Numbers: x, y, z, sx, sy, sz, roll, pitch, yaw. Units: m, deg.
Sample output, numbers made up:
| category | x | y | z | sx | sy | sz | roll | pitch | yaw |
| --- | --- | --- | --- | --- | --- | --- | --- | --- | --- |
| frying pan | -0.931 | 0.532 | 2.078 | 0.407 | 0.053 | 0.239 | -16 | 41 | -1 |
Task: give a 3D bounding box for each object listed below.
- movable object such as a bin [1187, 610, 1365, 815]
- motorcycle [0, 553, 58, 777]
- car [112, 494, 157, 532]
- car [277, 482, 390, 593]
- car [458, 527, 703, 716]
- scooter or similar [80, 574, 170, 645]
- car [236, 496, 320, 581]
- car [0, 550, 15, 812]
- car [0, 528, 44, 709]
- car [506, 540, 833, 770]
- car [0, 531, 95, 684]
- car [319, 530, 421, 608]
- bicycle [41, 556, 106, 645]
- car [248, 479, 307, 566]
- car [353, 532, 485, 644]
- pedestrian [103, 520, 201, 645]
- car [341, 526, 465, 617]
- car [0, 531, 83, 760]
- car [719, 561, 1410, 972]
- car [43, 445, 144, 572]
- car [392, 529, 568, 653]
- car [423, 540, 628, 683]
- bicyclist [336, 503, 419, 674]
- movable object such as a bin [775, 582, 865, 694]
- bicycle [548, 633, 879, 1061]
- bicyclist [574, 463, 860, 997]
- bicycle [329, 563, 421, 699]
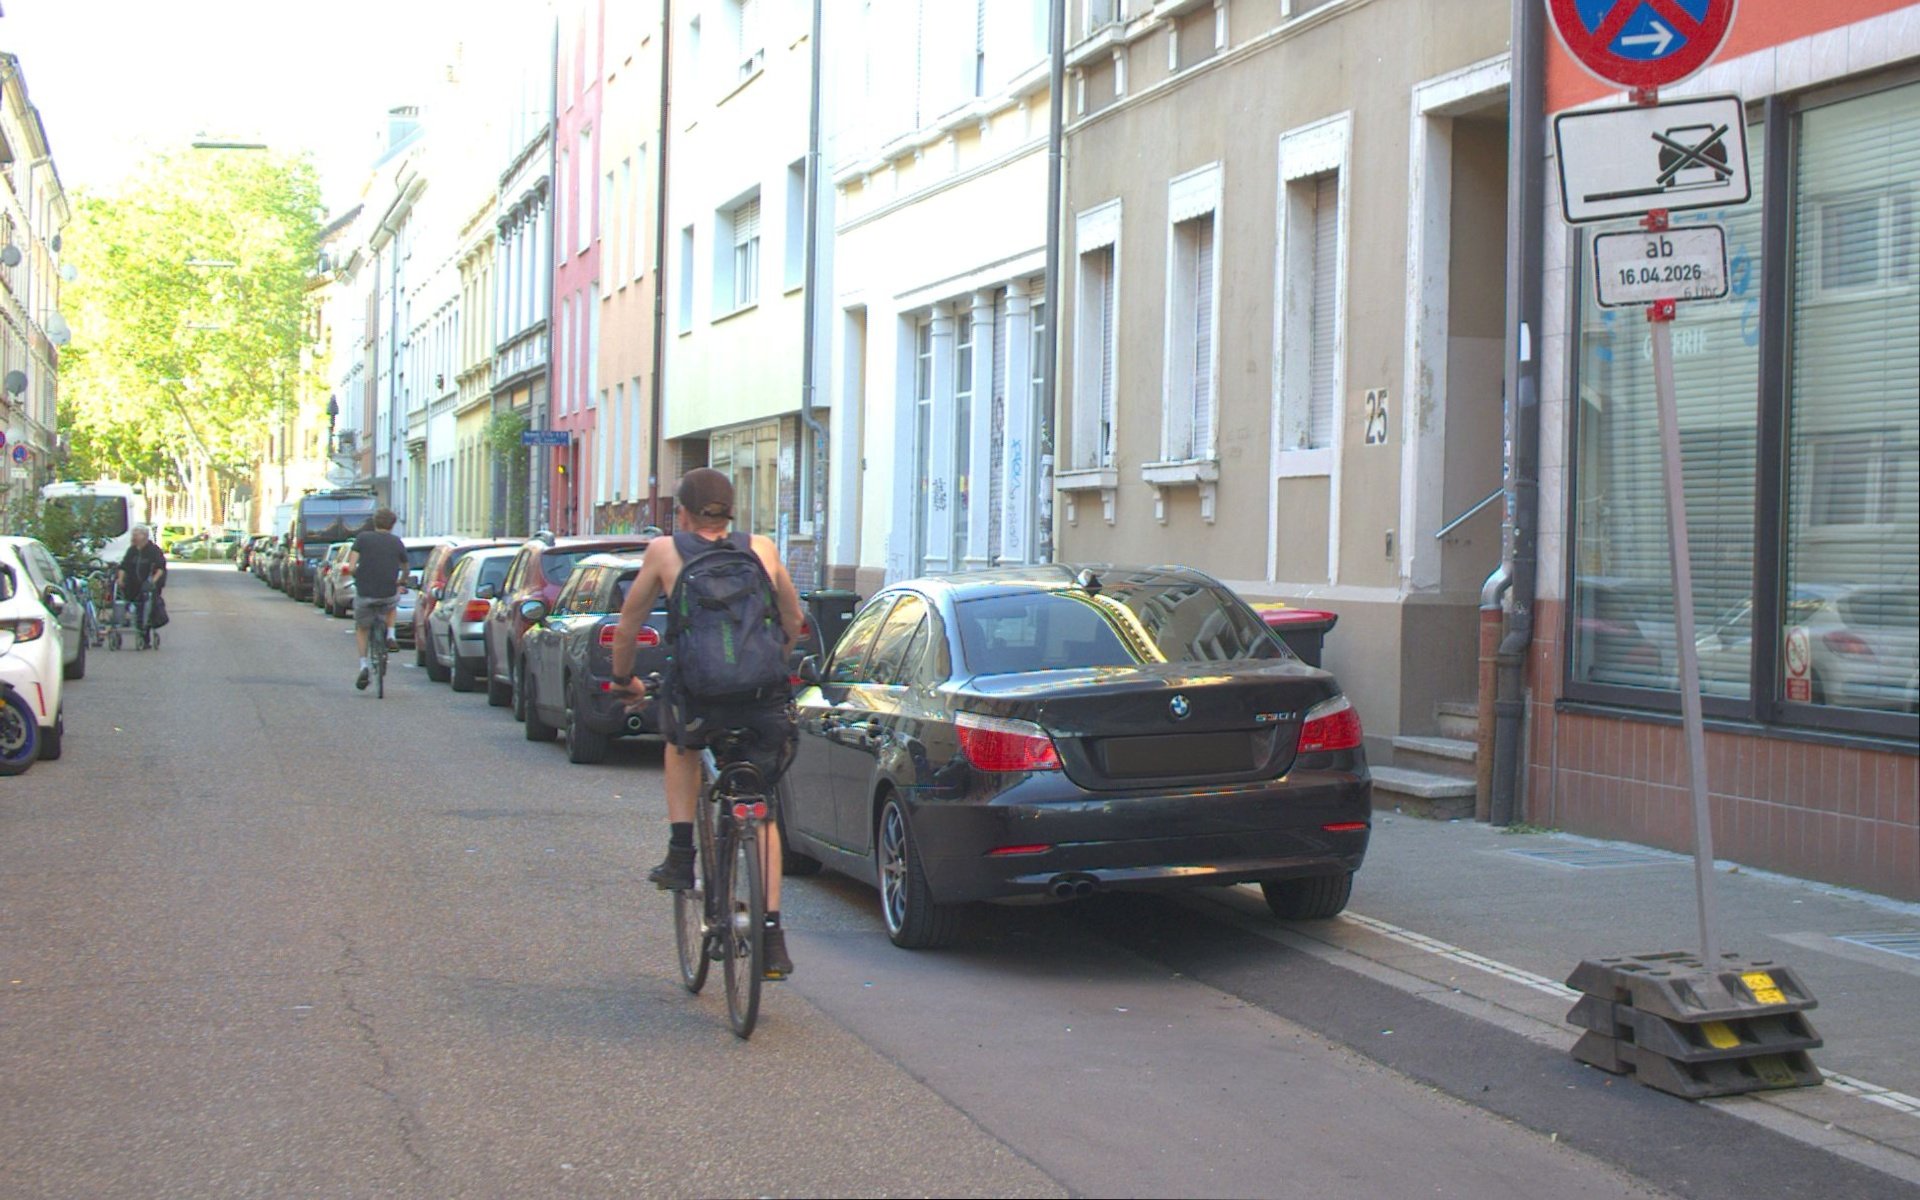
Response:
| category | x | y | z | sx | sy | sz | roll | pitch | yaw |
| --- | --- | --- | --- | --- | --- | --- | --- | --- | --- |
| movable object such as a bin | 1.732 | 0.606 | 18.894 | 0.736 | 1.071 | 0.678 | -2 | 1 | -19 |
| motorcycle | -6.625 | 0.424 | 20.819 | 2.146 | 1.354 | 0.540 | -2 | 2 | -30 |
| car | -32.715 | -3.454 | 136.334 | 1.671 | 1.437 | 4.166 | -1 | 1 | -13 |
| car | -14.977 | -1.481 | 81.937 | 2.307 | 2.529 | 6.772 | -1 | 1 | -13 |
| car | -3.459 | 0.149 | 30.754 | 1.710 | 1.551 | 4.001 | -1 | 1 | -13 |
| scooter or similar | -10.671 | 0.120 | 43.952 | 0.772 | 0.870 | 0.769 | 3 | 0 | 27 |
| car | -21.197 | -1.886 | 106.631 | 2.307 | 2.529 | 6.772 | -1 | 1 | -13 |
| car | -5.631 | 0.479 | 16.538 | 1.710 | 1.378 | 4.357 | 1 | 2 | -11 |
| car | -8.681 | 0.129 | 29.035 | 1.671 | 1.437 | 3.769 | -1 | 1 | -13 |
| car | -2.202 | 0.334 | 25.107 | 1.816 | 1.516 | 4.001 | -1 | 1 | -13 |
| car | -9.622 | 0.047 | 34.262 | 1.671 | 1.437 | 3.755 | -1 | 1 | -10 |
| car | -11.459 | -0.604 | 66.605 | 1.710 | 1.442 | 4.001 | -1 | 1 | -13 |
| bicycle | -11.650 | -0.001 | 45.160 | 0.699 | 1.102 | 2.275 | 2 | 0 | -17 |
| car | -30.418 | -3.424 | 153.116 | 2.307 | 3.755 | 6.772 | -1 | 1 | -13 |
| car | -7.939 | -0.195 | 50.232 | 1.620 | 1.545 | 4.001 | -1 | 1 | -13 |
| pedestrian | -10.427 | -0.220 | 44.372 | 0.772 | 1.573 | 0.899 | 3 | 0 | 27 |
| car | -9.041 | -0.471 | 55.572 | 1.710 | 1.389 | 4.001 | -1 | 1 | -13 |
| car | -6.940 | 0.268 | 23.564 | 1.671 | 1.437 | 4.166 | -1 | 1 | -13 |
| car | 0.238 | 0.569 | 14.847 | 1.816 | 1.433 | 4.792 | -1 | 1 | -13 |
| car | -17.611 | -1.845 | 69.806 | 1.909 | 2.488 | 4.167 | 0 | 1 | -15 |
| car | -5.736 | -0.135 | 40.759 | 1.710 | 1.378 | 4.001 | -1 | 1 | -13 |
| car | -4.576 | 0.084 | 35.762 | 1.710 | 1.378 | 4.001 | -1 | 1 | -13 |
| bicyclist | -5.551 | -0.117 | 32.745 | 0.702 | 1.599 | 0.813 | 1 | 1 | -13 |
| movable object such as a bin | -1.388 | 0.371 | 33.964 | 0.807 | 1.071 | 0.678 | -1 | 1 | -8 |
| bicycle | -0.869 | 0.752 | 11.389 | 0.702 | 1.204 | 2.343 | 3 | 0 | -13 |
| bicyclist | -0.808 | 0.400 | 11.154 | 0.702 | 1.627 | 1.090 | 3 | 0 | -13 |
| bicycle | -5.599 | 0.277 | 32.821 | 0.702 | 1.203 | 2.343 | 1 | 1 | -13 |
